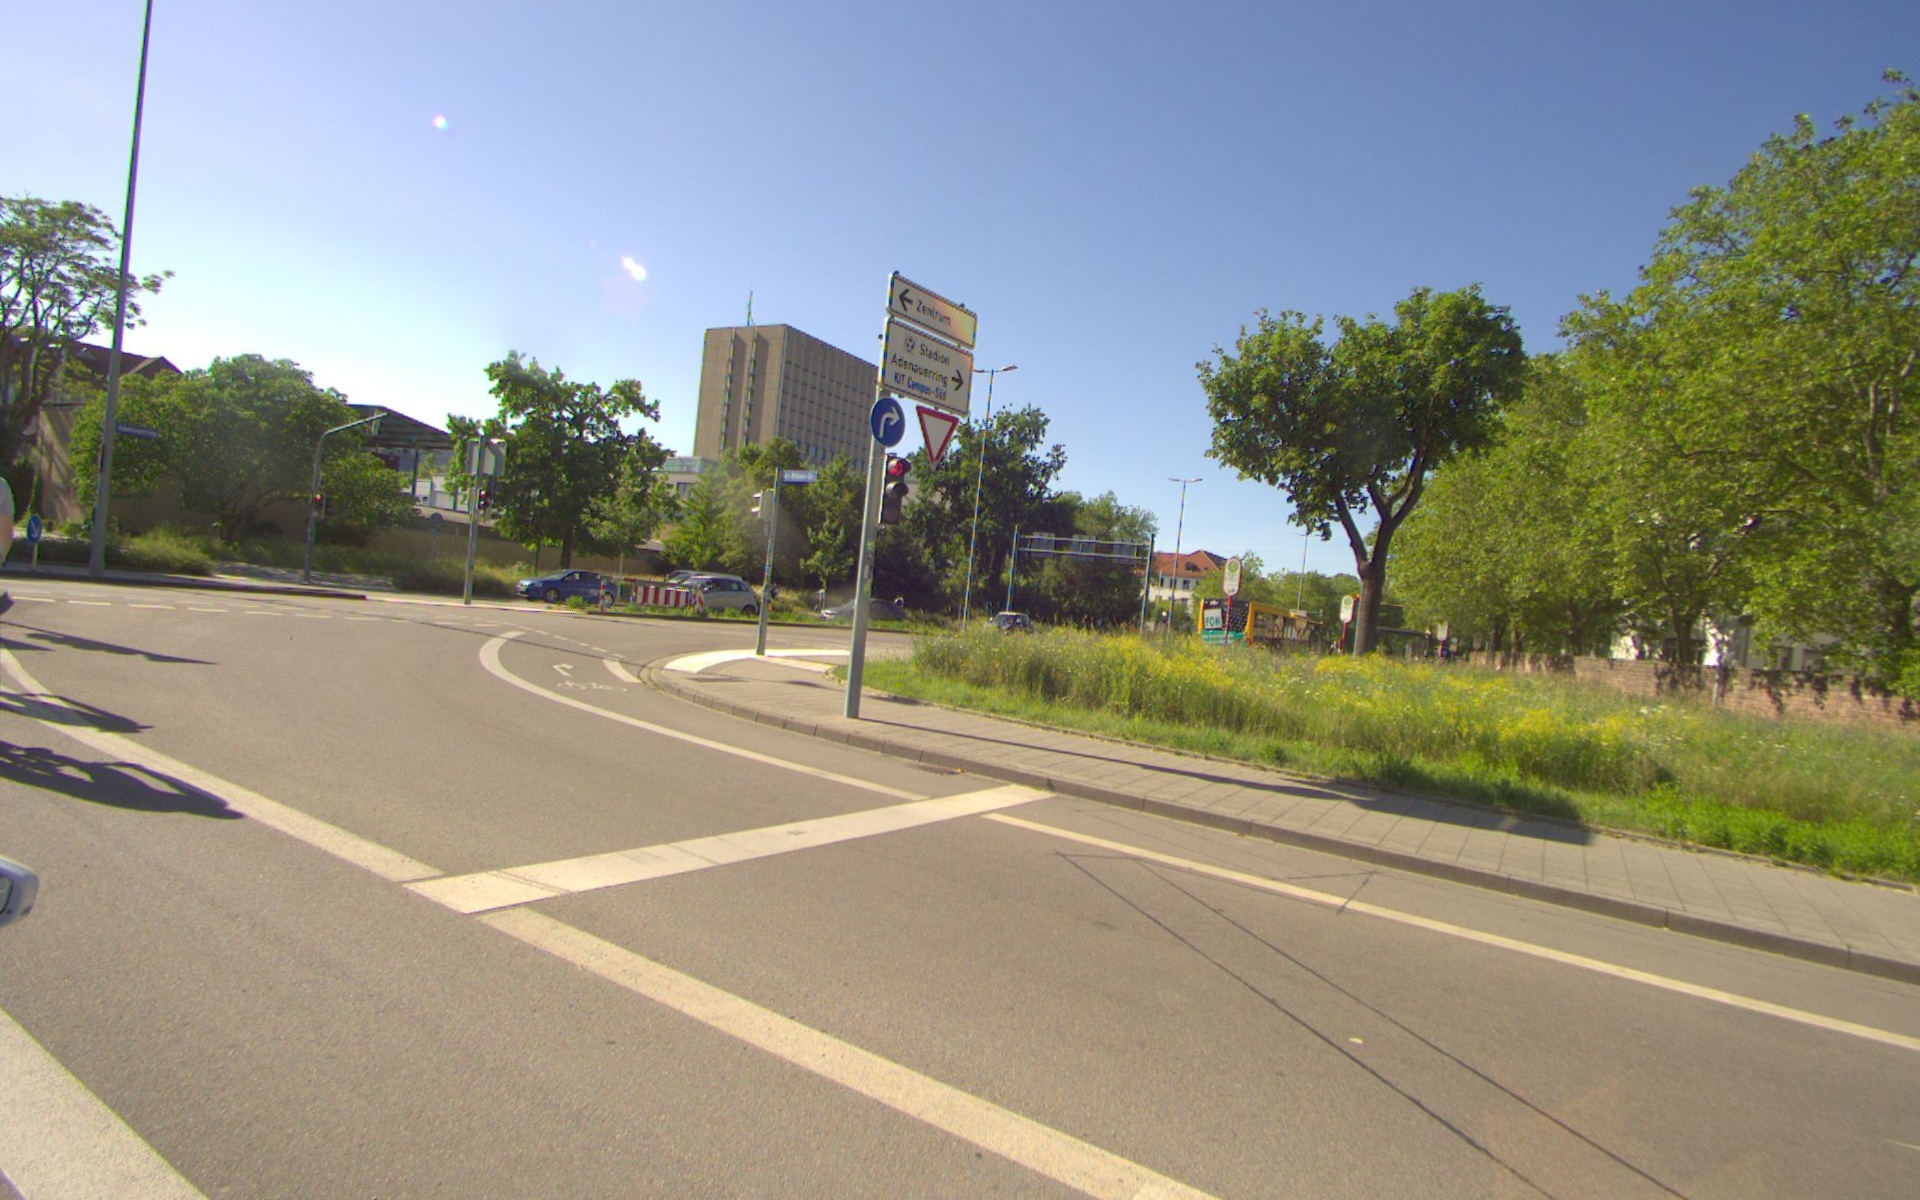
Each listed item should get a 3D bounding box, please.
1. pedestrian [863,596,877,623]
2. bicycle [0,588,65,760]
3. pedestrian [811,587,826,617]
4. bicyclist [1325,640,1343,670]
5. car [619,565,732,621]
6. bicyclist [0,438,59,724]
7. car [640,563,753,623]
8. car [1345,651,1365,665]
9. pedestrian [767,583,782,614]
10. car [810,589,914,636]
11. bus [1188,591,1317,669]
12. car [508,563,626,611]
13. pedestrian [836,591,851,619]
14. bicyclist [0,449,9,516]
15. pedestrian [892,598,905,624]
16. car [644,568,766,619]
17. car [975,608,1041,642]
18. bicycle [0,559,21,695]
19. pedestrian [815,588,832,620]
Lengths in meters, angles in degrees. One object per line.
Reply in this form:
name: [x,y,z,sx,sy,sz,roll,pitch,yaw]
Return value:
pedestrian: [-6.183,0.663,69.222,0.519,1.801,0.561,7,1,35]
bicycle: [-6.290,0.354,6.090,1.946,0.906,0.741,6,-2,33]
pedestrian: [-9.131,0.129,64.920,0.519,1.801,0.561,7,1,35]
bicyclist: [18.099,2.657,48.660,0.509,1.368,1.002,7,1,32]
car: [-11.797,-0.274,41.900,1.972,1.837,3.982,7,0,40]
bicyclist: [-6.221,-0.169,6.089,1.000,1.688,0.752,6,-1,33]
car: [-12.303,-0.273,47.330,1.968,2.131,4.885,6,-2,34]
car: [48.549,7.146,123.574,1.812,1.405,4.066,4,-2,27]
pedestrian: [-11.235,-0.071,60.915,0.519,1.801,0.561,7,1,35]
car: [-4.300,0.581,44.708,1.968,1.604,4.736,6,0,33]
bus: [14.316,1.586,48.503,2.752,2.662,10.093,6,-2,34]
car: [-16.084,-0.513,41.340,1.717,1.453,4.162,7,0,38]
pedestrian: [-7.585,0.329,65.604,0.519,1.801,0.561,7,1,35]
bicyclist: [-8.132,-0.372,7.779,1.048,1.759,0.647,7,-1,26]
pedestrian: [-4.297,0.779,70.439,0.519,1.801,0.561,7,1,35]
car: [-9.421,-0.233,37.429,1.840,1.426,4.046,6,0,38]
car: [2.660,1.386,55.026,1.757,1.448,3.990,6,0,33]
bicycle: [-8.198,0.090,7.774,1.935,1.014,0.661,6,-1,26]
pedestrian: [-8.526,0.252,62.774,0.702,1.872,0.561,7,1,35]
